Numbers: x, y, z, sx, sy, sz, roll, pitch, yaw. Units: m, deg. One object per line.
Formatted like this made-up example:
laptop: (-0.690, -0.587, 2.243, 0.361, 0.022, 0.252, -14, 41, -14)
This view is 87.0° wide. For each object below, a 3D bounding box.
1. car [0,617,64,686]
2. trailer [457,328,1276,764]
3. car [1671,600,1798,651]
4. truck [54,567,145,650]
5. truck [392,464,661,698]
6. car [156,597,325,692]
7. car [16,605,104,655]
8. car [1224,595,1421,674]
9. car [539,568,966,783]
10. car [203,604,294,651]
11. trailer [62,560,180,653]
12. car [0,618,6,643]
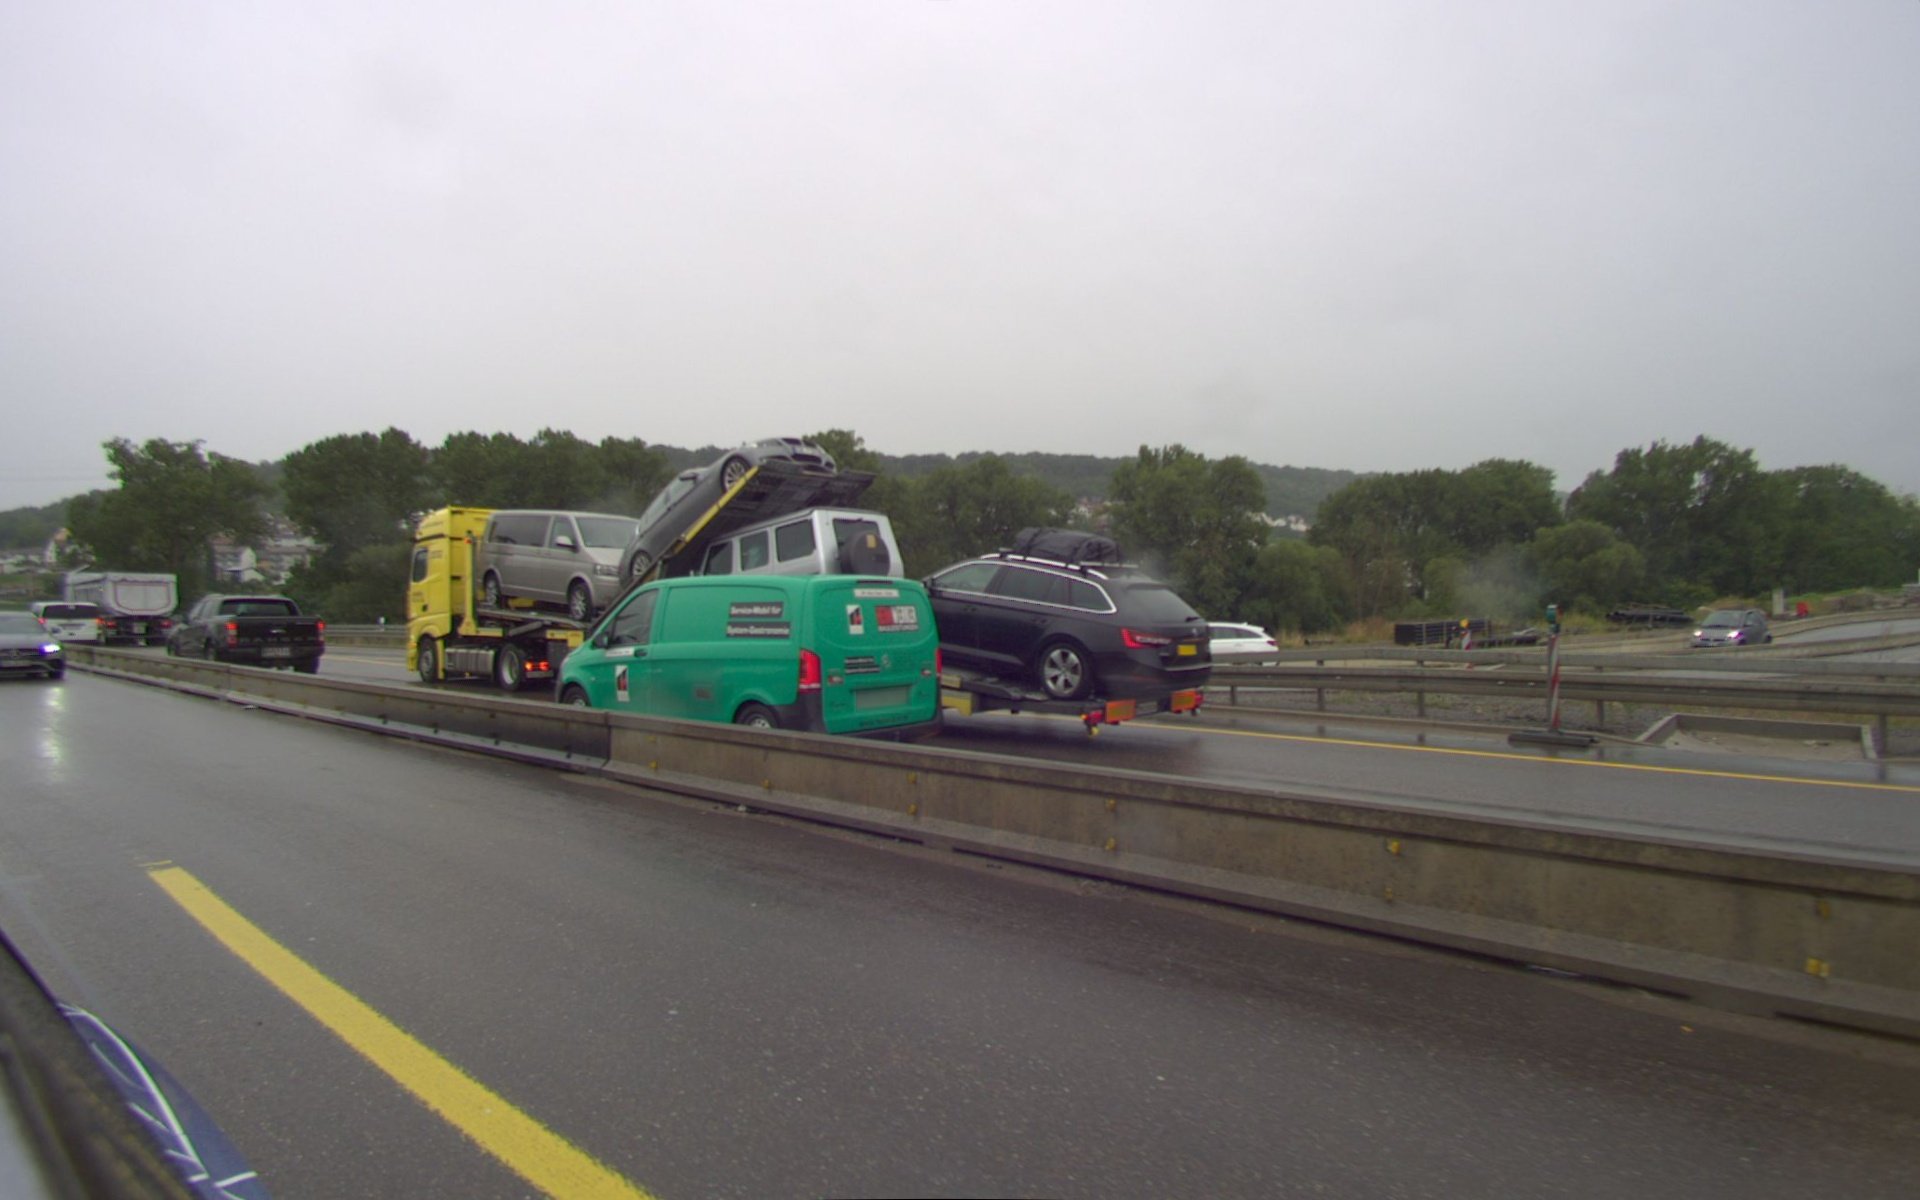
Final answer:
car: (-21.821, 1.123, 22.824, 4.482, 1.449, 1.926, -1, -1, 42)
trailer: (-3.076, -0.389, 15.542, 15.351, 4.073, 2.721, -1, -1, 41)
car: (27.400, 0.860, 35.743, 4.960, 1.713, 1.856, 0, -1, -31)
truck: (-43.479, 0.474, 51.089, 5.271, 3.957, 2.658, -1, -2, 41)
truck: (-9.040, -0.281, 20.804, 6.145, 4.093, 2.721, -1, -1, 41)
car: (-15.522, 0.904, 21.704, 5.187, 1.819, 1.768, -1, -2, 41)
car: (-34.882, 1.134, 39.161, 5.356, 1.806, 1.855, -1, -1, 41)
car: (10.113, 0.927, 28.418, 4.764, 2.078, 2.076, 0, -1, -10)
car: (-2.355, 0.676, 10.648, 4.685, 1.772, 1.973, -2, -1, 41)
car: (-32.703, 1.247, 46.446, 5.042, 2.029, 2.242, -1, -1, 40)
trailer: (-39.885, 0.387, 47.948, 9.814, 3.994, 2.658, -1, -2, 41)
car: (-57.232, 1.776, 59.214, 3.998, 1.464, 1.692, -1, -1, 41)
